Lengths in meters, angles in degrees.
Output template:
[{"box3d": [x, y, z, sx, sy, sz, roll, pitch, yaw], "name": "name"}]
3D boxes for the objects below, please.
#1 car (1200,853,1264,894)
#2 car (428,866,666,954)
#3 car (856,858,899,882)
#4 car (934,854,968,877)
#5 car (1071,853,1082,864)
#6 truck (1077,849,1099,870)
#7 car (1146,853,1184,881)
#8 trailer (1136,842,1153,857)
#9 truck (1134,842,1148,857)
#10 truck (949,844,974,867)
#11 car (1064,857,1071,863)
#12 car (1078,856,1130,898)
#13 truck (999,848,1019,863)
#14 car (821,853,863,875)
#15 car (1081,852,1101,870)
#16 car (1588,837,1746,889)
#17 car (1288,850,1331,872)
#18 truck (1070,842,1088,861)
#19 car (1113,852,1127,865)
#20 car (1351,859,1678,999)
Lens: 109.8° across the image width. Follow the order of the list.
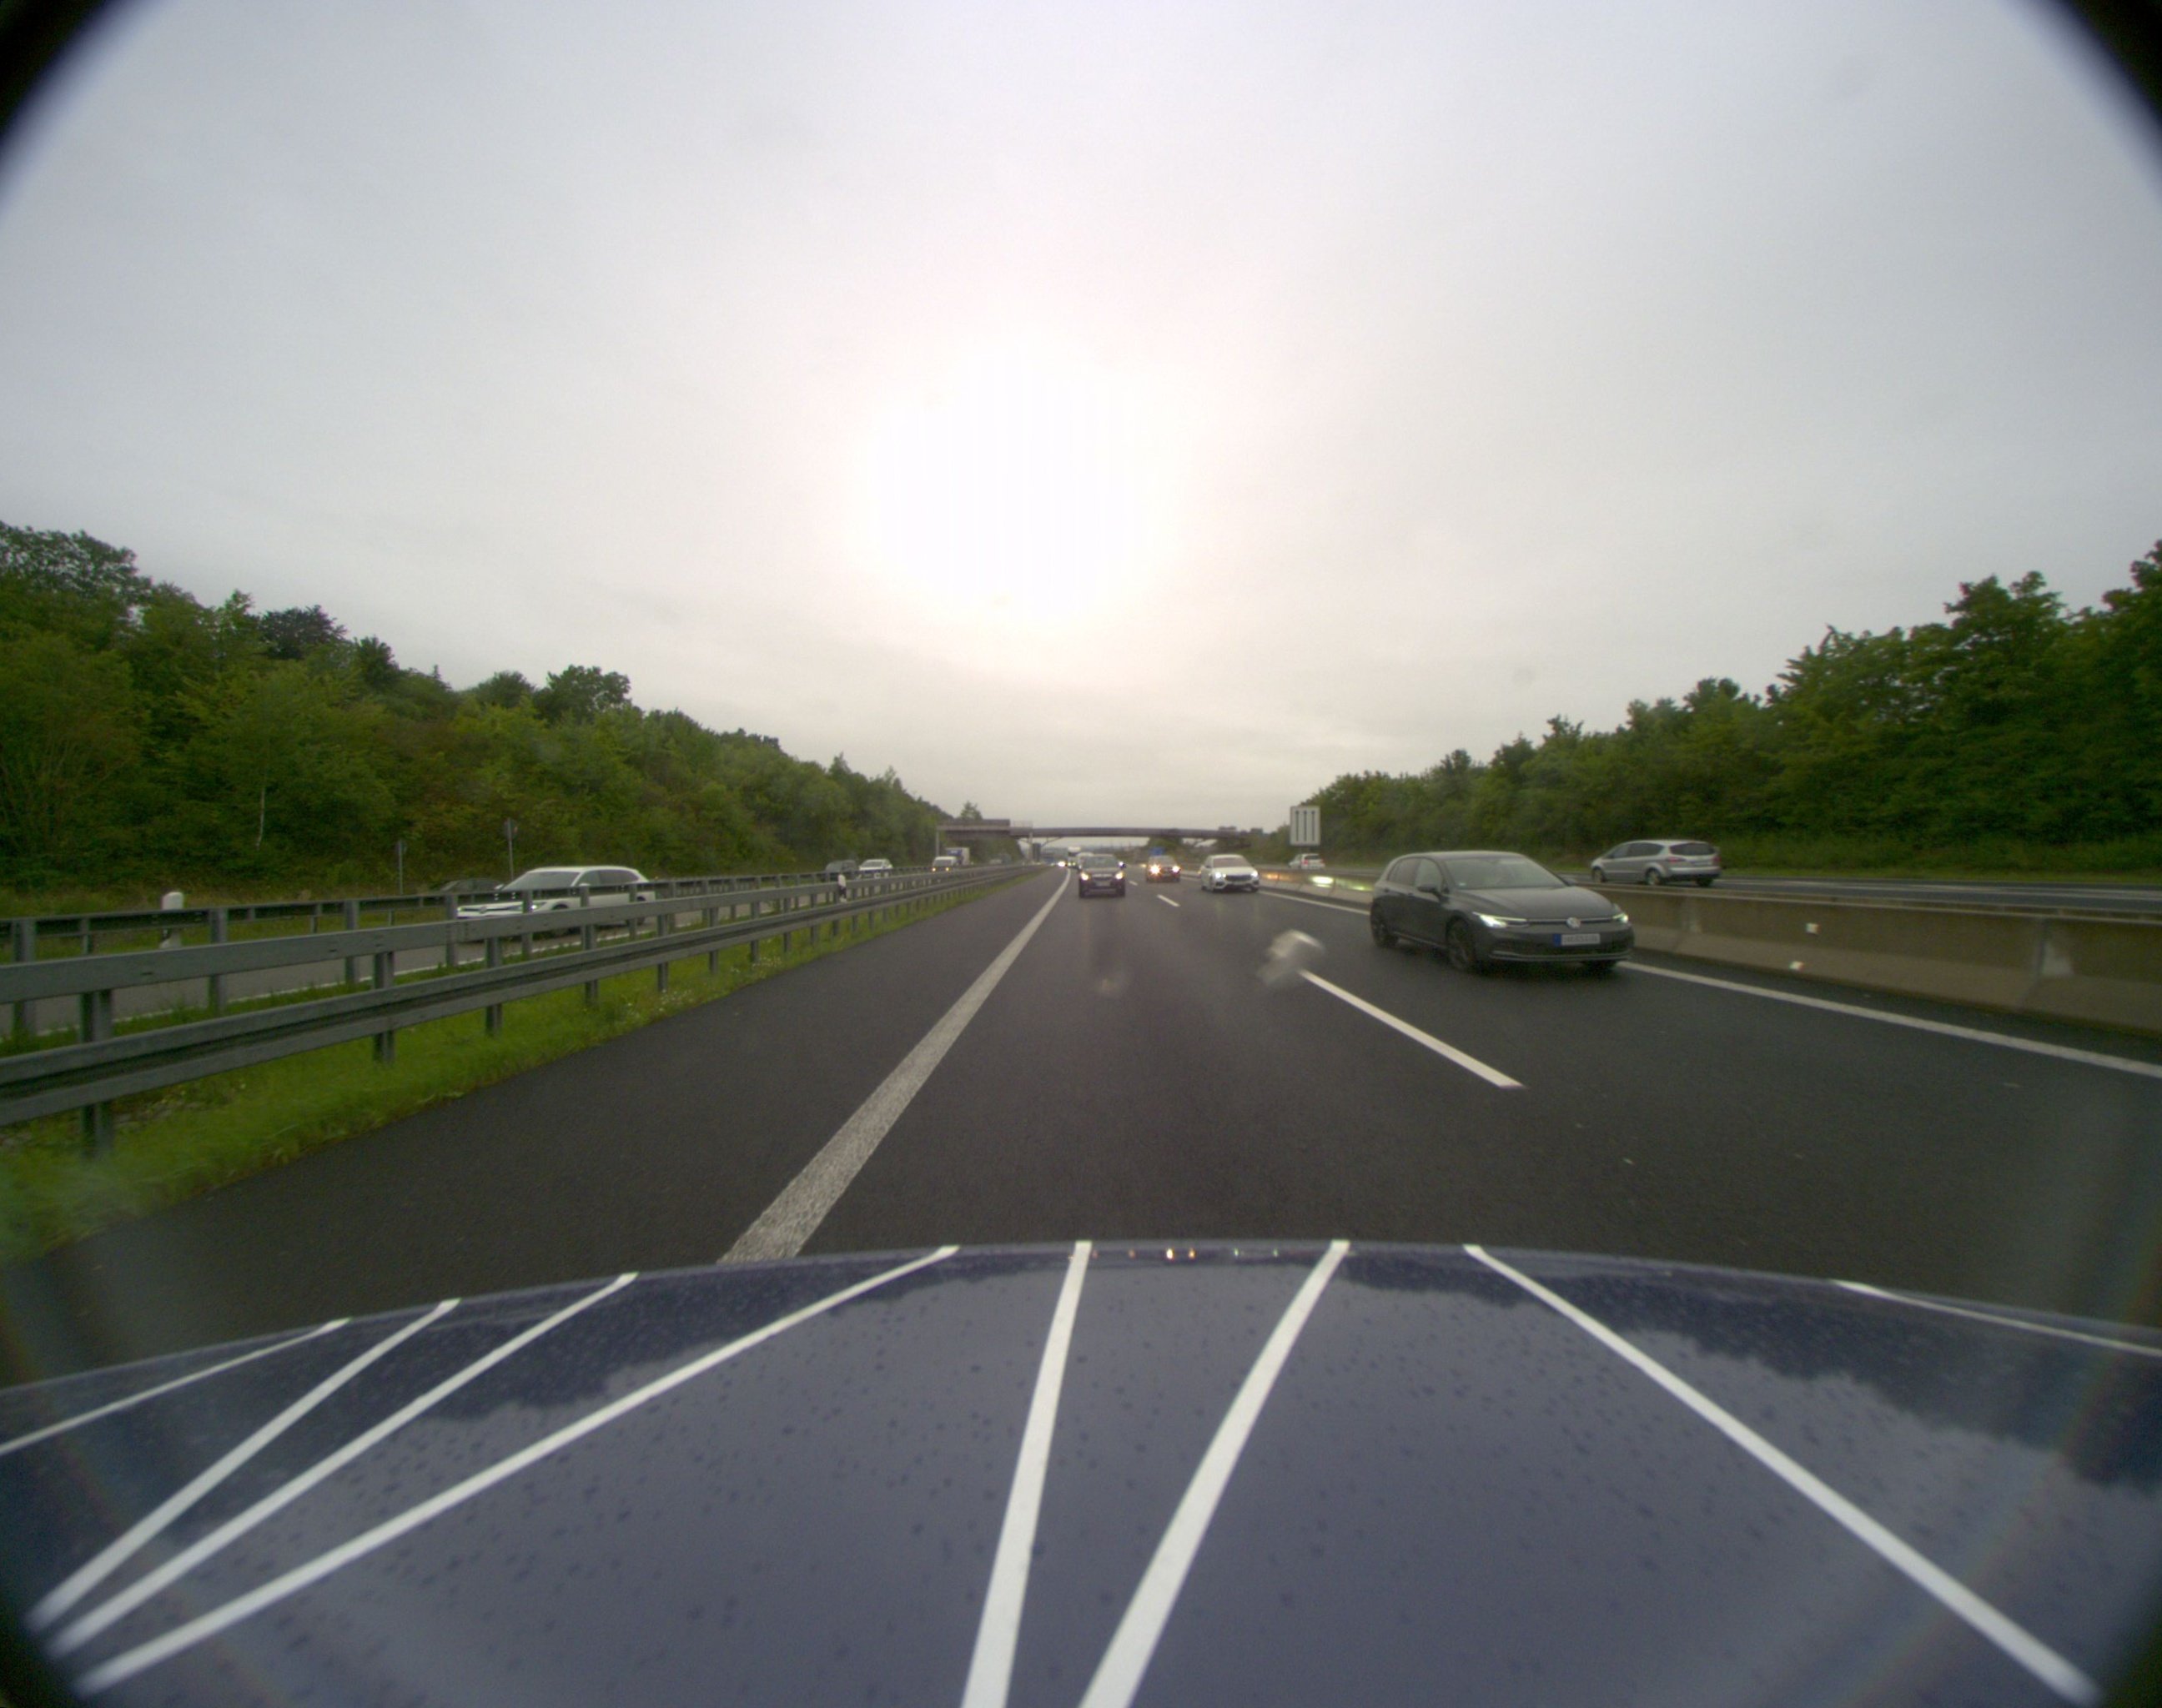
[{"box3d": [5.980, 0.722, 30.514, 1.905, 1.497, 4.115, -1, 0, 3], "name": "car"}, {"box3d": [-11.606, 1.120, 17.044, 2.013, 1.539, 4.695, -1, 0, -1], "name": "car"}, {"box3d": [-14.571, 1.104, 54.528, 1.901, 1.603, 4.145, -1, 0, 0], "name": "car"}, {"box3d": [-10.654, 0.901, 62.419, 2.013, 1.804, 4.276, -1, 0, 0], "name": "car"}, {"box3d": [-0.678, 0.675, 123.310, 1.715, 1.724, 4.000, -2, 0, 1], "name": "car"}, {"box3d": [0.828, 0.552, 84.538, 2.174, 2.214, 5.643, -1, 0, 3], "name": "truck"}, {"box3d": [4.836, 0.692, 44.098, 1.905, 1.497, 4.115, -1, 0, 3], "name": "car"}, {"box3d": [17.131, -1.200, 206.925, 3.268, 4.059, 13.844, -1, 0, 0], "name": "trailer"}, {"box3d": [17.077, -1.198, 215.165, 3.268, 4.059, 7.440, -1, 0, 0], "name": "truck"}, {"box3d": [-18.770, 0.157, 120.013, 2.909, 3.397, 9.279, -2, 0, -3], "name": "truck"}, {"box3d": [-4.004, 1.770, 232.545, 1.917, 1.671, 4.000, -2, 0, 2], "name": "car"}, {"box3d": [0.939, 0.852, 30.339, 1.905, 1.497, 4.115, -1, 0, 3], "name": "car"}, {"box3d": [-17.869, 0.307, 189.263, 2.908, 3.397, 13.356, -2, 0, 4], "name": "truck"}, {"box3d": [-20.380, 0.815, 64.875, 1.998, 1.725, 4.642, -2, 0, 1], "name": "car"}, {"box3d": [1.042, 0.694, 77.638, 1.825, 1.669, 4.000, -2, 0, 3], "name": "car"}, {"box3d": [20.432, 0.277, 26.819, 2.185, 1.625, 4.538, -1, 0, 2], "name": "car"}, {"box3d": [16.922, 0.477, 56.406, 1.987, 1.497, 4.140, -1, 0, 1], "name": "car"}, {"box3d": [-0.300, -0.503, 148.466, 3.153, 3.332, 13.100, -2, 0, 1], "name": "truck"}, {"box3d": [5.378, 0.551, 104.511, 1.715, 1.724, 4.000, -2, 0, 1], "name": "car"}, {"box3d": [5.360, 0.805, 10.242, 1.905, 1.397, 4.459, -1, 0, 1], "name": "car"}]
